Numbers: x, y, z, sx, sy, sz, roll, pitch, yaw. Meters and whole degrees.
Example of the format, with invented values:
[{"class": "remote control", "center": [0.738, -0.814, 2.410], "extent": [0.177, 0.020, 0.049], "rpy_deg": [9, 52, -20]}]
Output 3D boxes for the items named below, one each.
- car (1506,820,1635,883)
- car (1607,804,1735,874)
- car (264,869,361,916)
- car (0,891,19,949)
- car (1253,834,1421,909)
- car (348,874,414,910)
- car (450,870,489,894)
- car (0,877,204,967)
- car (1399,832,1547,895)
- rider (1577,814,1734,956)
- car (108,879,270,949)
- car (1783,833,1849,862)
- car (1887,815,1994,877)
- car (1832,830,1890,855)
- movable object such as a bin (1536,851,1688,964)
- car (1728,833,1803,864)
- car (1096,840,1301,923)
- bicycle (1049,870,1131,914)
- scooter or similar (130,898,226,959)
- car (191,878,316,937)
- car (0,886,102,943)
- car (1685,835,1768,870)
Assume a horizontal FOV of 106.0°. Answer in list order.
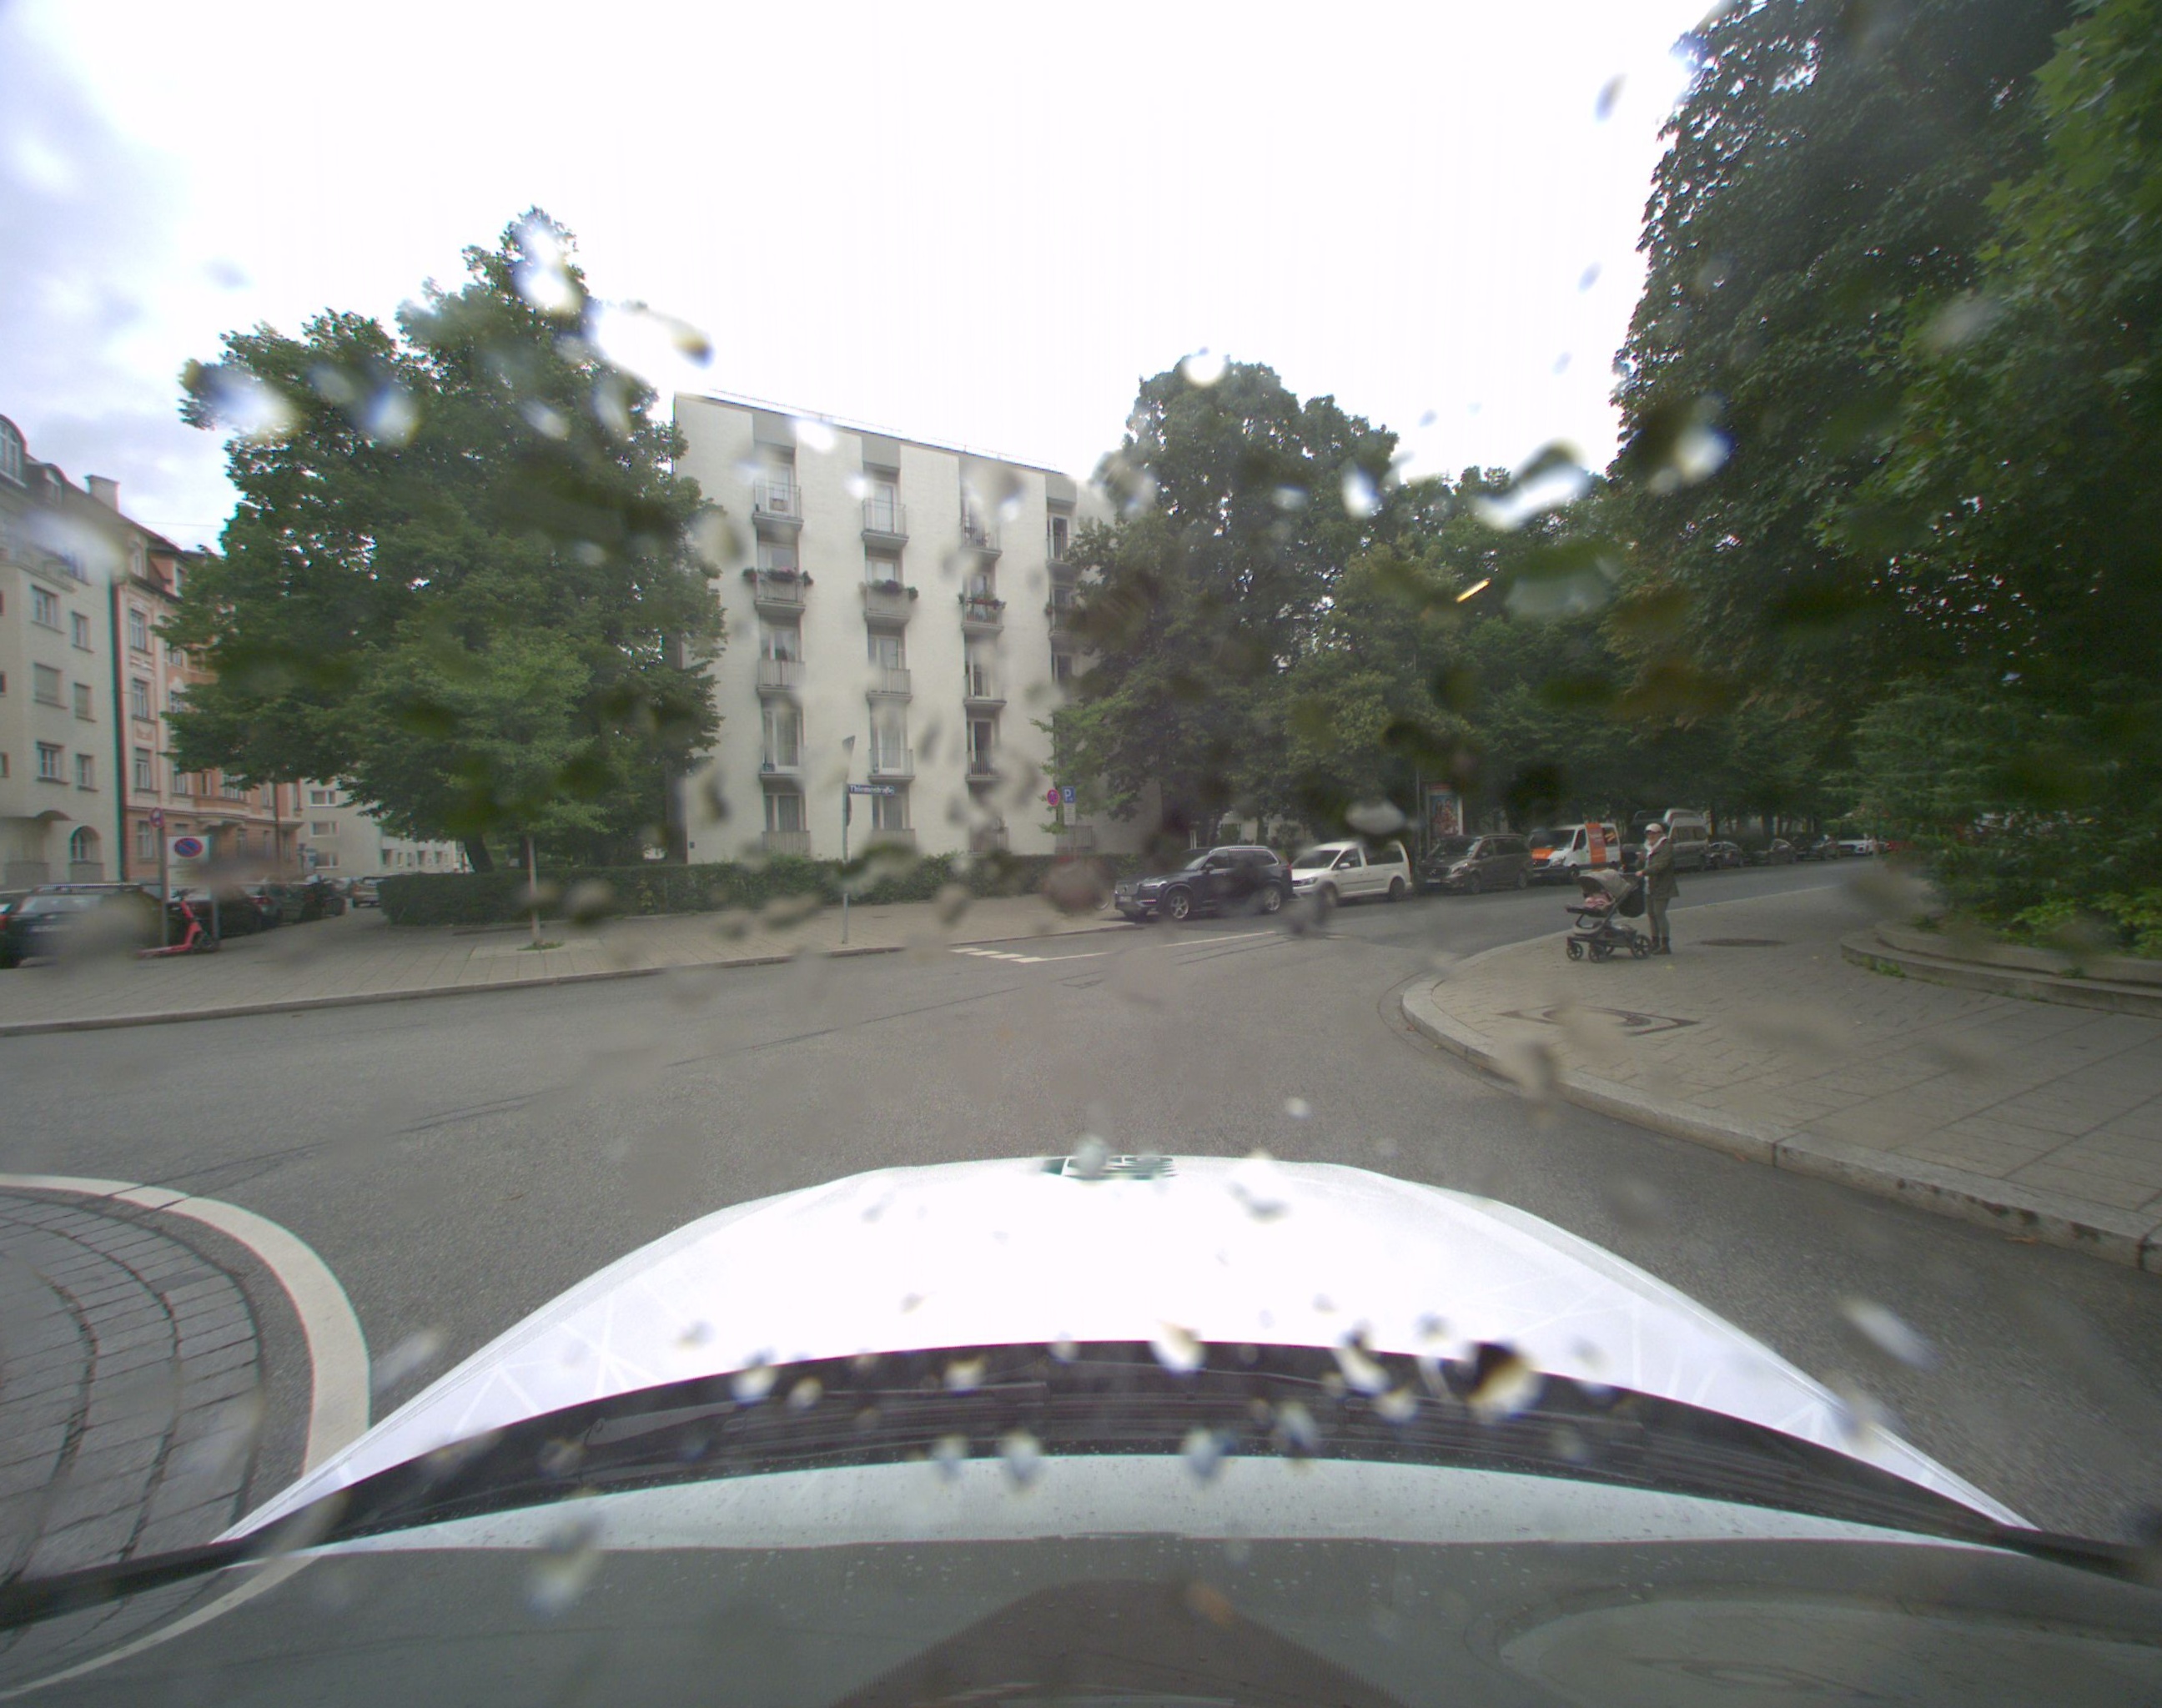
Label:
[{"class": "car", "center": [18.891, -0.138, 31.386], "extent": [5.213, 2.251, 2.096], "rpy_deg": [-2, 0, -32]}, {"class": "car", "center": [26.636, -0.702, 36.696], "extent": [6.602, 2.922, 2.319], "rpy_deg": [-2, 0, -32]}, {"class": "car", "center": [-28.184, 1.353, 29.996], "extent": [1.782, 1.518, 3.994], "rpy_deg": [-2, 0, -32]}, {"class": "car", "center": [-32.207, 1.986, 22.444], "extent": [2.005, 1.691, 4.173], "rpy_deg": [-2, 0, -29]}, {"class": "car", "center": [7.428, 0.430, 23.461], "extent": [4.886, 1.894, 1.912], "rpy_deg": [-2, 0, -33]}, {"class": "car", "center": [-33.937, 1.798, 39.574], "extent": [1.782, 1.518, 3.994], "rpy_deg": [-2, 0, -32]}, {"class": "car", "center": [-42.585, 1.929, 56.759], "extent": [1.782, 1.518, 3.994], "rpy_deg": [-2, 0, -32]}, {"class": "car", "center": [-20.132, 1.294, 16.766], "extent": [1.782, 1.518, 3.994], "rpy_deg": [-2, 0, -32]}, {"class": "car", "center": [13.101, 0.262, 27.129], "extent": [5.004, 1.859, 2.051], "rpy_deg": [-2, 0, -32]}, {"class": "rider", "center": [7.274, 0.380, 10.363], "extent": [1.139, 1.668, 1.078], "rpy_deg": [-2, -2, -19]}, {"class": "car", "center": [-23.018, 1.468, 21.211], "extent": [1.782, 1.518, 3.994], "rpy_deg": [-2, 0, -32]}, {"class": "car", "center": [42.982, -0.406, 47.614], "extent": [4.089, 1.571, 1.882], "rpy_deg": [-2, 0, -33]}, {"class": "car", "center": [29.144, -0.304, 27.588], "extent": [4.467, 1.922, 2.025], "rpy_deg": [-2, 0, -38]}, {"class": "car", "center": [52.145, -0.773, 54.438], "extent": [4.089, 1.571, 1.882], "rpy_deg": [-2, 0, -33]}, {"class": "movable object such as a bin", "center": [6.550, 0.640, 10.092], "extent": [1.086, 1.267, 1.074], "rpy_deg": [-2, -2, -19]}, {"class": "car", "center": [35.904, -0.298, 42.706], "extent": [4.089, 1.538, 1.882], "rpy_deg": [-2, 0, -33]}, {"class": "car", "center": [3.001, 0.611, 20.417], "extent": [4.924, 1.767, 2.051], "rpy_deg": [-2, 0, -32]}, {"class": "bicycle", "center": [0.242, 0.973, 21.521], "extent": [1.978, 1.051, 0.905], "rpy_deg": [-2, 0, -31]}, {"class": "scooter or similar", "center": [-17.106, 1.397, 15.455], "extent": [1.148, 1.025, 0.374], "rpy_deg": [-2, 0, -41]}, {"class": "car", "center": [-25.455, 1.575, 25.208], "extent": [1.782, 1.518, 3.994], "rpy_deg": [-2, 0, -32]}, {"class": "car", "center": [-34.720, 1.961, 26.646], "extent": [2.005, 1.595, 4.173], "rpy_deg": [-2, 0, -29]}, {"class": "car", "center": [31.752, -0.091, 40.044], "extent": [4.326, 1.571, 1.882], "rpy_deg": [-2, 0, -33]}]
